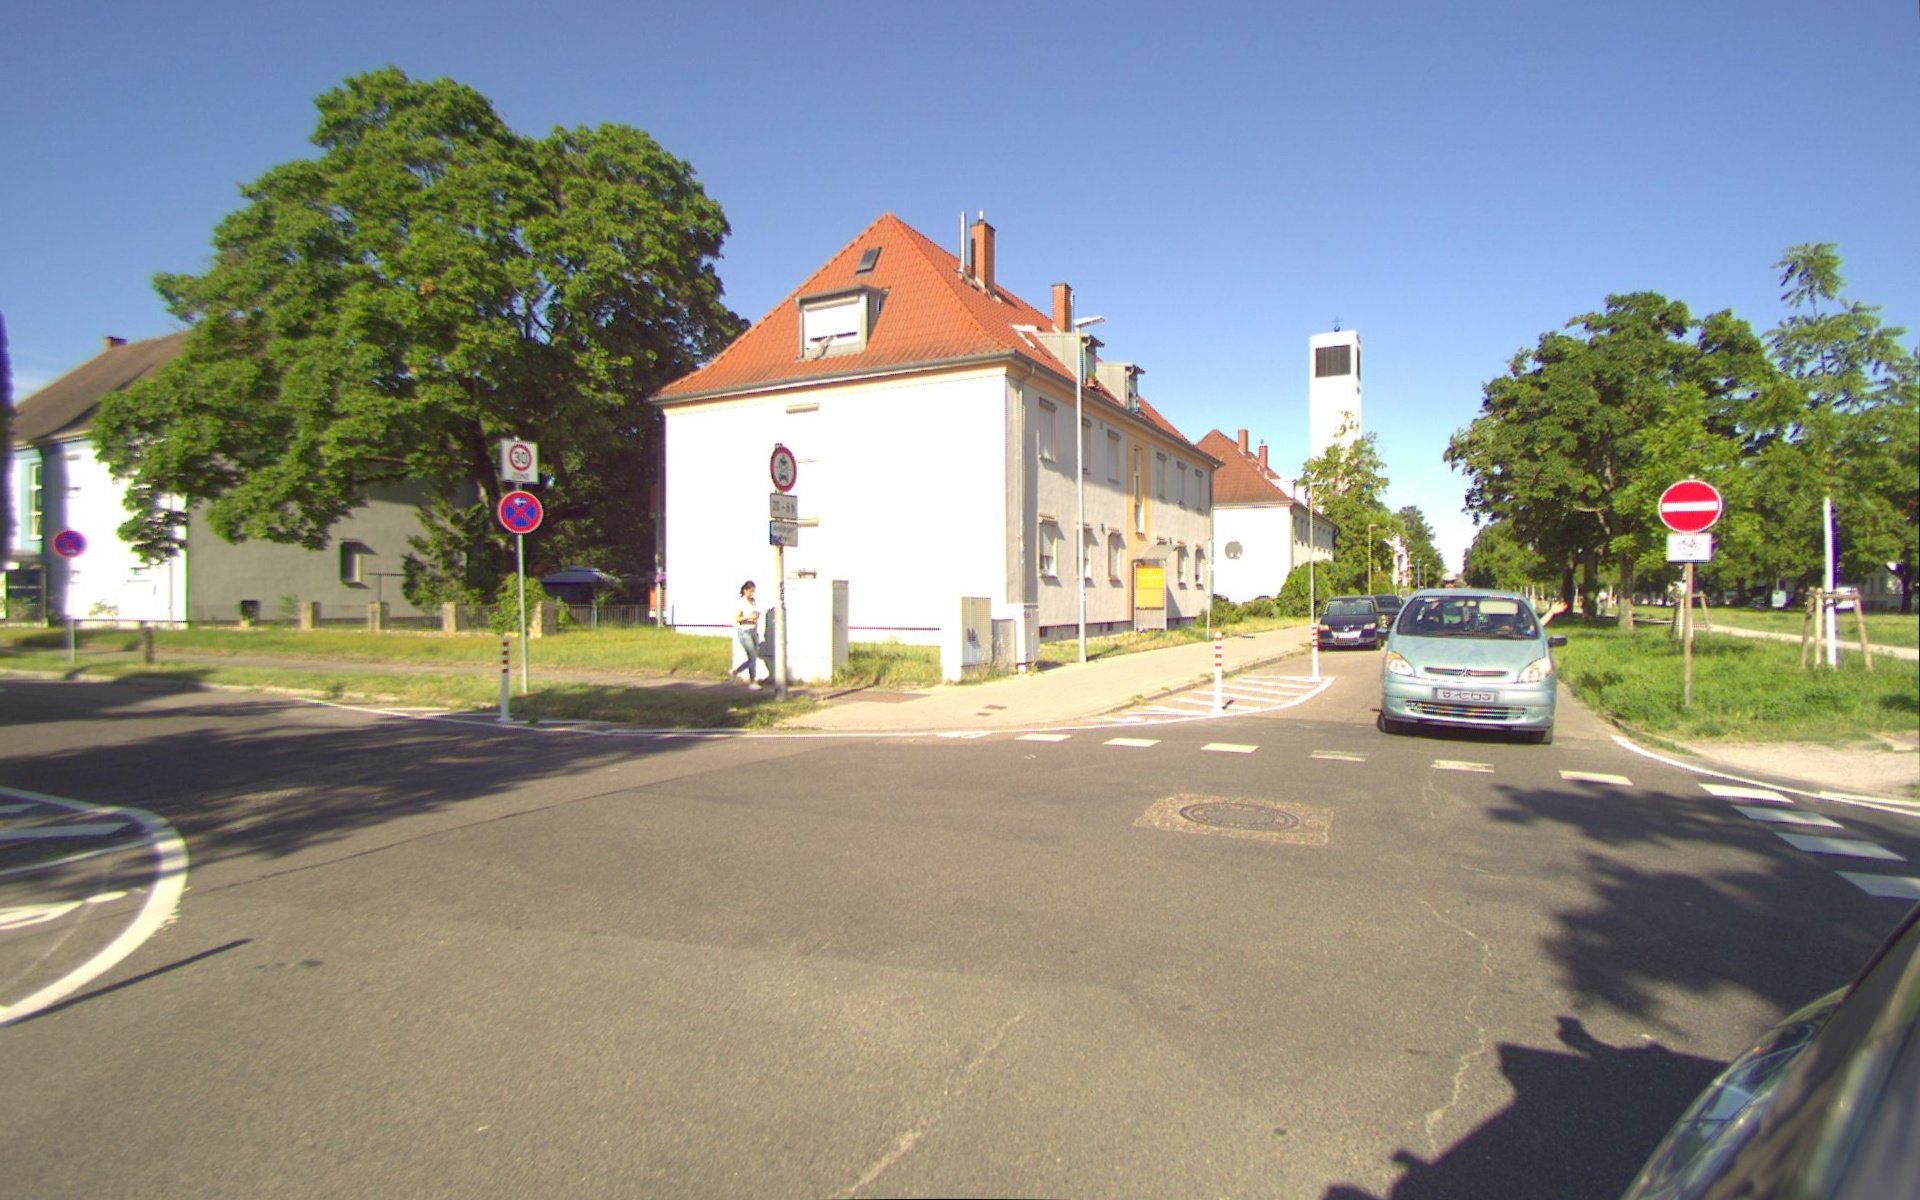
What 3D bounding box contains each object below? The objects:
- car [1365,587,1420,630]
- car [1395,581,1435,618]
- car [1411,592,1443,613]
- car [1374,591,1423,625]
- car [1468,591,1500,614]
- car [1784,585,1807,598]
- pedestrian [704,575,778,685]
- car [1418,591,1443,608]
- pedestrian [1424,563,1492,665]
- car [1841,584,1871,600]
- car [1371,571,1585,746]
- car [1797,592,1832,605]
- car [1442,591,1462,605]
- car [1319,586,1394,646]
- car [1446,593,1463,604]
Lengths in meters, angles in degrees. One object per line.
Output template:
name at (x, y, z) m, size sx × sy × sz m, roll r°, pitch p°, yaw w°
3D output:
car at (17.248, 0.301, 40.242) m, size 1.706 × 1.603 × 4.100 m, roll 0°, pitch 1°, yaw 28°
car at (25.925, -0.059, 57.632) m, size 1.854 × 2.039 × 4.214 m, roll 0°, pitch 0°, yaw 28°
car at (31.127, 0.151, 67.407) m, size 1.706 × 1.358 × 3.772 m, roll 0°, pitch 1°, yaw 28°
car at (19.684, 0.313, 45.365) m, size 1.706 × 1.460 × 4.100 m, roll 0°, pitch 1°, yaw 28°
car at (31.906, 0.121, 61.608) m, size 1.706 × 1.358 × 3.772 m, roll 0°, pitch 1°, yaw 28°
car at (119.663, -1.193, 144.954) m, size 1.849 × 1.868 × 3.954 m, roll 0°, pitch 1°, yaw 29°
pedestrian at (-3.354, 0.439, 15.532) m, size 0.828 × 1.631 × 0.760 m, roll 0°, pitch 0°, yaw 33°
car at (38.204, -0.034, 82.102) m, size 1.706 × 1.358 × 3.772 m, roll 0°, pitch 1°, yaw 28°
pedestrian at (8.689, 0.225, 17.687) m, size 1.043 × 1.731 × 0.687 m, roll 0°, pitch 0°, yaw 24°
car at (106.630, -0.991, 120.501) m, size 1.849 × 1.868 × 3.954 m, roll 0°, pitch 1°, yaw 29°
car at (6.008, 0.518, 11.766) m, size 1.871 × 1.629 × 4.205 m, roll 0°, pitch 1°, yaw 28°
car at (96.823, -0.192, 114.698) m, size 2.062 × 1.484 × 4.680 m, roll 0°, pitch 1°, yaw 29°
car at (49.341, -0.252, 101.427) m, size 1.706 × 1.358 × 3.772 m, roll 0°, pitch 1°, yaw 28°
car at (12.121, 0.432, 30.810) m, size 1.706 × 1.685 × 4.025 m, roll 0°, pitch 1°, yaw 28°
car at (59.348, -0.207, 121.361) m, size 1.706 × 1.358 × 3.772 m, roll 0°, pitch 1°, yaw 28°
